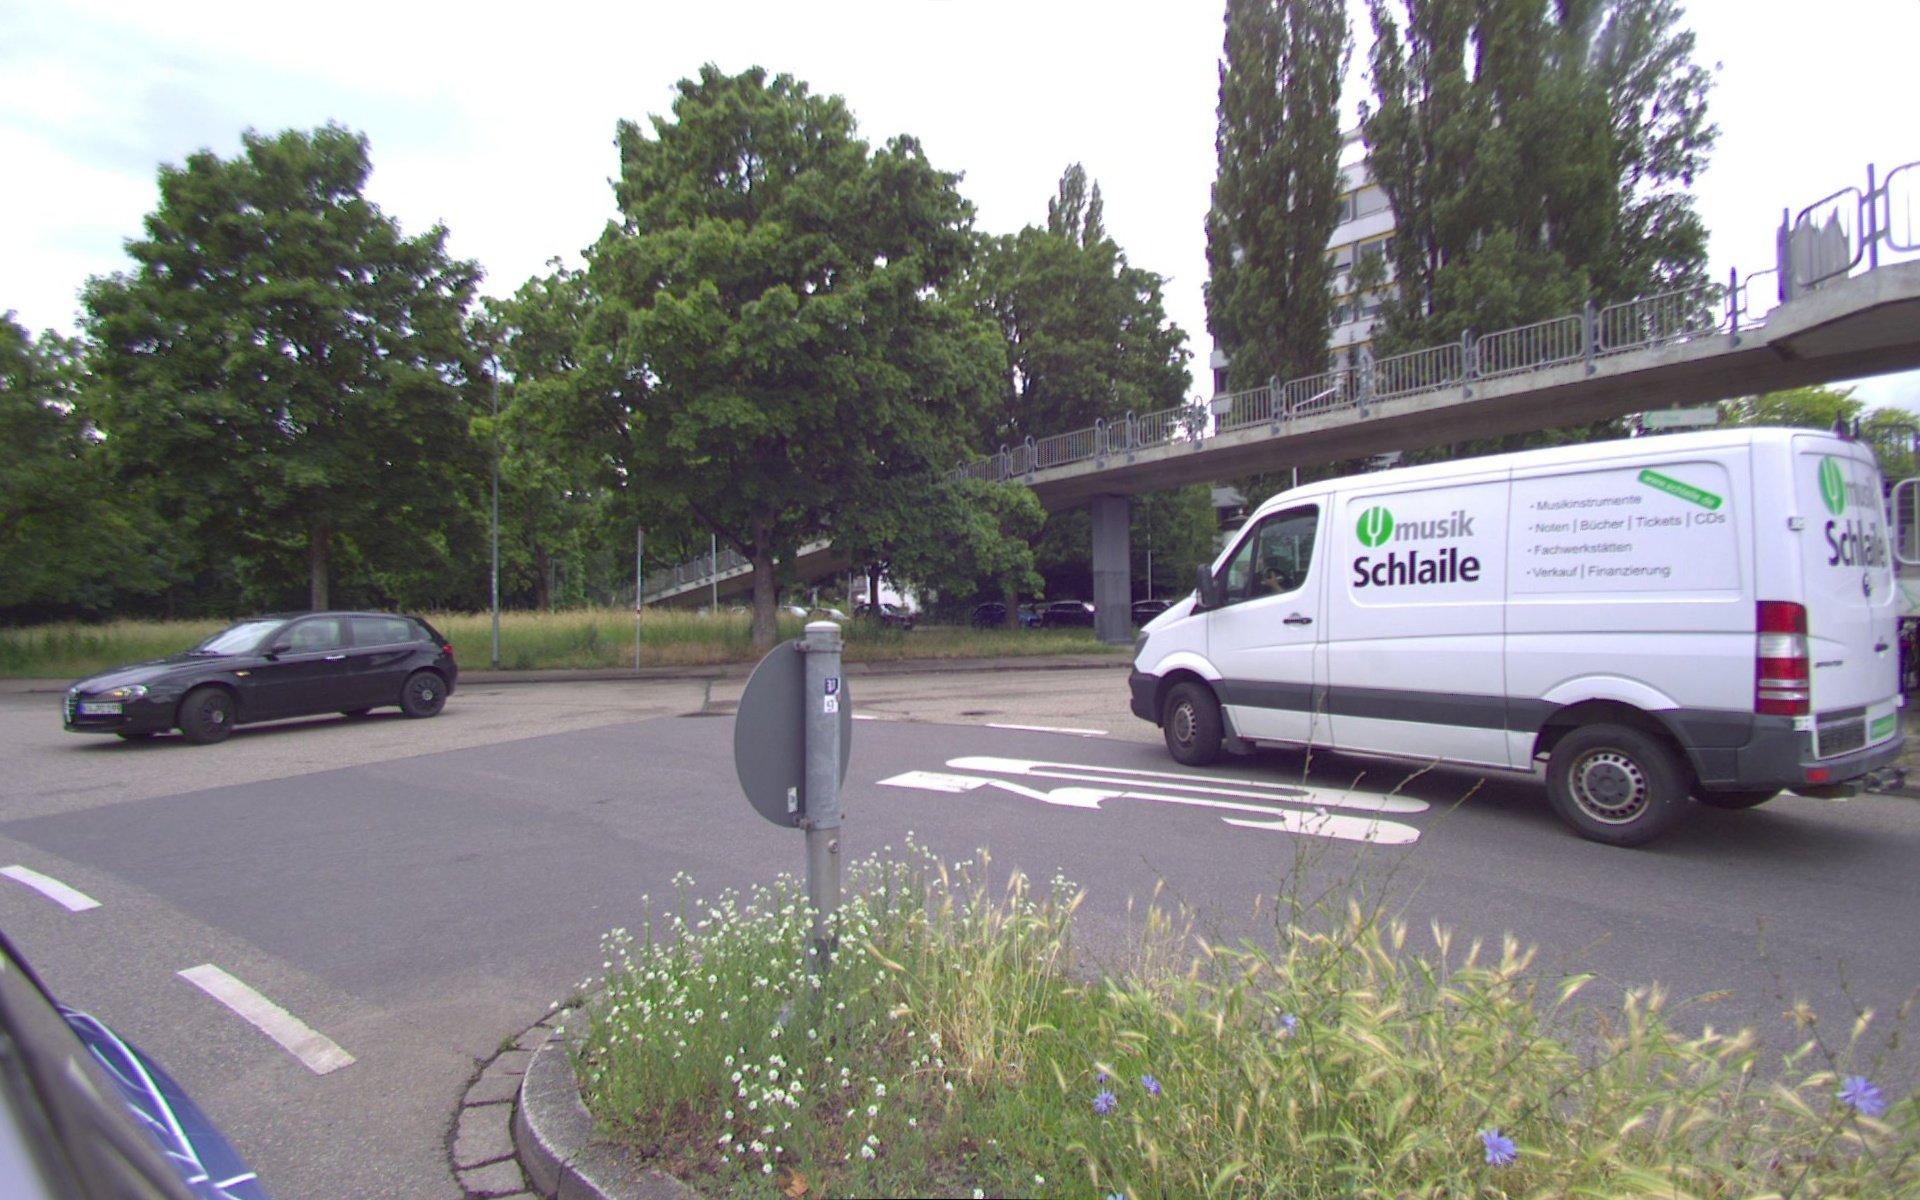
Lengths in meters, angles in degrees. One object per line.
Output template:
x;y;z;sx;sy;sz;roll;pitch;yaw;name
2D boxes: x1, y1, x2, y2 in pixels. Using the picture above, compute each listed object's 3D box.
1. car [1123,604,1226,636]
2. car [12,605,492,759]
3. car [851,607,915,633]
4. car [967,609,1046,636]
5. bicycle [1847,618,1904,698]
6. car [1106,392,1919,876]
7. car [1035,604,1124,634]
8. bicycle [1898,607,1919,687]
8.857;0.817;41.964;1.667;1.214;4.007;-1;0;-39;car
-8.291;0.836;12.372;1.795;1.468;4.497;-1;0;28;car
-4.412;1.122;57.481;1.667;1.361;4.007;-1;0;-39;car
2.257;1.080;49.909;1.667;1.247;4.007;-1;0;-39;car
11.202;0.681;12.372;1.618;0.892;0.395;-1;-1;-44;bicycle
3.702;0.148;7.569;2.106;2.309;5.220;-1;1;-36;car
5.408;0.862;46.195;1.667;1.256;4.007;-1;0;-39;car
11.510;0.538;12.056;1.618;0.892;0.395;-1;-1;-44;bicycle
